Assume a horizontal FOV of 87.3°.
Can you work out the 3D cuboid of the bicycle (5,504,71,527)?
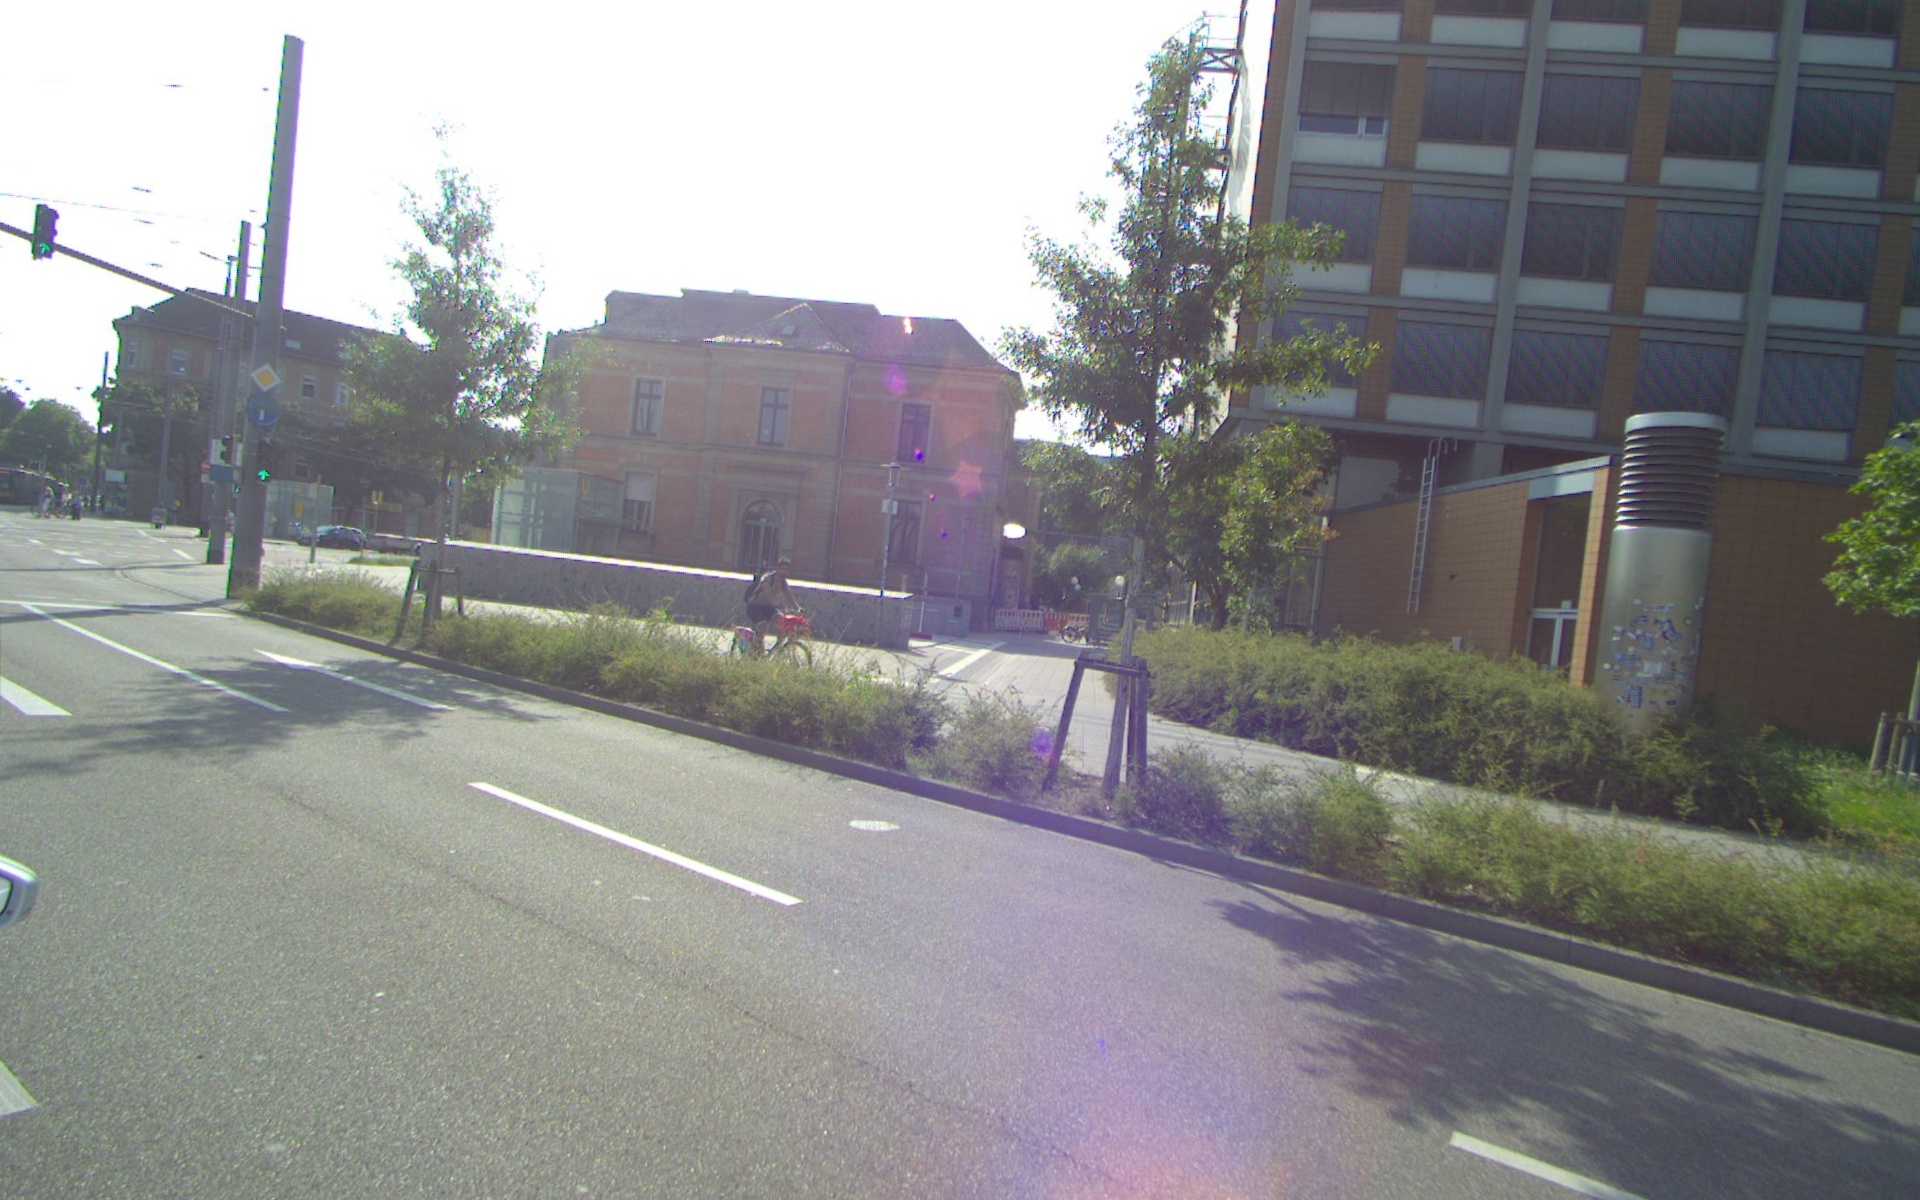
[{"bbox_3d":[-54.023,-4.949,58.981,1.072,0.976,2.627,7,0,12],"label":"bicycle"}]

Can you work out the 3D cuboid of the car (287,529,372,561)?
[{"bbox_3d":[-38.934,-3.385,62.224,1.985,1.414,4.390,7,0,8],"label":"car"}]

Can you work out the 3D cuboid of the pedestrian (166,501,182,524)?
[{"bbox_3d":[-53.895,-5.981,68.969,0.537,1.489,0.667,6,1,-8],"label":"pedestrian"}]

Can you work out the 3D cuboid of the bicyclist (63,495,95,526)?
[{"bbox_3d":[-53.908,-5.452,61.569,1.072,1.701,0.937,7,1,12],"label":"bicyclist"}]

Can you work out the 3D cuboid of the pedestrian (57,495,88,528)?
[{"bbox_3d":[-52.399,-5.221,59.409,0.844,1.820,0.927,6,1,-5],"label":"pedestrian"}]

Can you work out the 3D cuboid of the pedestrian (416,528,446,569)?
[{"bbox_3d":[-24.118,-2.341,45.887,0.909,1.711,0.834,6,1,-17],"label":"pedestrian"}]

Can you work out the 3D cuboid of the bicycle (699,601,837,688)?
[{"bbox_3d":[-2.694,0.609,14.008,1.892,0.972,0.719,7,1,36],"label":"bicycle"}]

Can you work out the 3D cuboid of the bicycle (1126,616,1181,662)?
[{"bbox_3d":[6.993,1.393,36.367,1.781,1.451,0.608,6,1,9],"label":"bicycle"}]

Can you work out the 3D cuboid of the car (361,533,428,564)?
[{"bbox_3d":[-43.871,-3.971,78.110,1.895,1.881,4.274,7,0,18],"label":"car"}]

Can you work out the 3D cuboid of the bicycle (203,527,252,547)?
[{"bbox_3d":[-45.229,-3.898,62.178,1.073,0.976,2.626,6,0,-1],"label":"bicycle"}]

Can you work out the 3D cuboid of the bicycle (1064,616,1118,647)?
[{"bbox_3d":[5.717,1.387,44.076,2.200,1.084,0.579,6,1,3],"label":"bicycle"}]

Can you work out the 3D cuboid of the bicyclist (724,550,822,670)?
[{"bbox_3d":[-2.592,0.140,13.948,0.989,1.532,0.719,7,1,36],"label":"bicyclist"}]

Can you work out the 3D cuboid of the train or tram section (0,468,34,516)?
[{"bbox_3d":[-82.200,-9.351,86.650,2.641,3.746,10.474,5,1,-39],"label":"train or tram section"}]

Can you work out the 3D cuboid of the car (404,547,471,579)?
[{"bbox_3d":[-39.493,-2.781,76.185,2.006,1.881,4.667,7,0,8],"label":"car"}]

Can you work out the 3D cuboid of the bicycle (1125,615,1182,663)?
[{"bbox_3d":[6.809,1.363,35.451,1.803,1.451,0.608,6,1,9],"label":"bicycle"}]

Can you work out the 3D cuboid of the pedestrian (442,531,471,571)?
[{"bbox_3d":[-23.431,-2.259,46.834,0.908,1.711,0.922,6,1,-14],"label":"pedestrian"}]

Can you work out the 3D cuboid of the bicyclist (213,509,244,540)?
[{"bbox_3d":[-45.137,-4.638,62.106,1.073,1.730,0.936,6,1,-1],"label":"bicyclist"}]

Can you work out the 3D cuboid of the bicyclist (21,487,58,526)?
[{"bbox_3d":[-52.391,-5.320,57.287,1.073,2.050,0.936,6,1,-1],"label":"bicyclist"}]

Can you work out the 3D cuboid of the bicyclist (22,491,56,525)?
[{"bbox_3d":[-53.977,-5.374,58.955,1.072,1.822,0.937,7,1,12],"label":"bicyclist"}]

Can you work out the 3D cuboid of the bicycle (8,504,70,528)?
[{"bbox_3d":[-52.449,-4.772,57.344,1.073,0.976,2.625,7,0,-1],"label":"bicycle"}]

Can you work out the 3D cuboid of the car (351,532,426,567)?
[{"bbox_3d":[-40.169,-3.526,70.864,1.873,1.881,4.712,7,0,10],"label":"car"}]

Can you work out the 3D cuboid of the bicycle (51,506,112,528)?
[{"bbox_3d":[-53.915,-5.078,61.770,1.072,0.976,2.627,7,0,12],"label":"bicycle"}]

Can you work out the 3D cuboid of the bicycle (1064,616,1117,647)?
[{"bbox_3d":[5.608,1.341,43.269,2.152,1.067,0.631,6,1,3],"label":"bicycle"}]
